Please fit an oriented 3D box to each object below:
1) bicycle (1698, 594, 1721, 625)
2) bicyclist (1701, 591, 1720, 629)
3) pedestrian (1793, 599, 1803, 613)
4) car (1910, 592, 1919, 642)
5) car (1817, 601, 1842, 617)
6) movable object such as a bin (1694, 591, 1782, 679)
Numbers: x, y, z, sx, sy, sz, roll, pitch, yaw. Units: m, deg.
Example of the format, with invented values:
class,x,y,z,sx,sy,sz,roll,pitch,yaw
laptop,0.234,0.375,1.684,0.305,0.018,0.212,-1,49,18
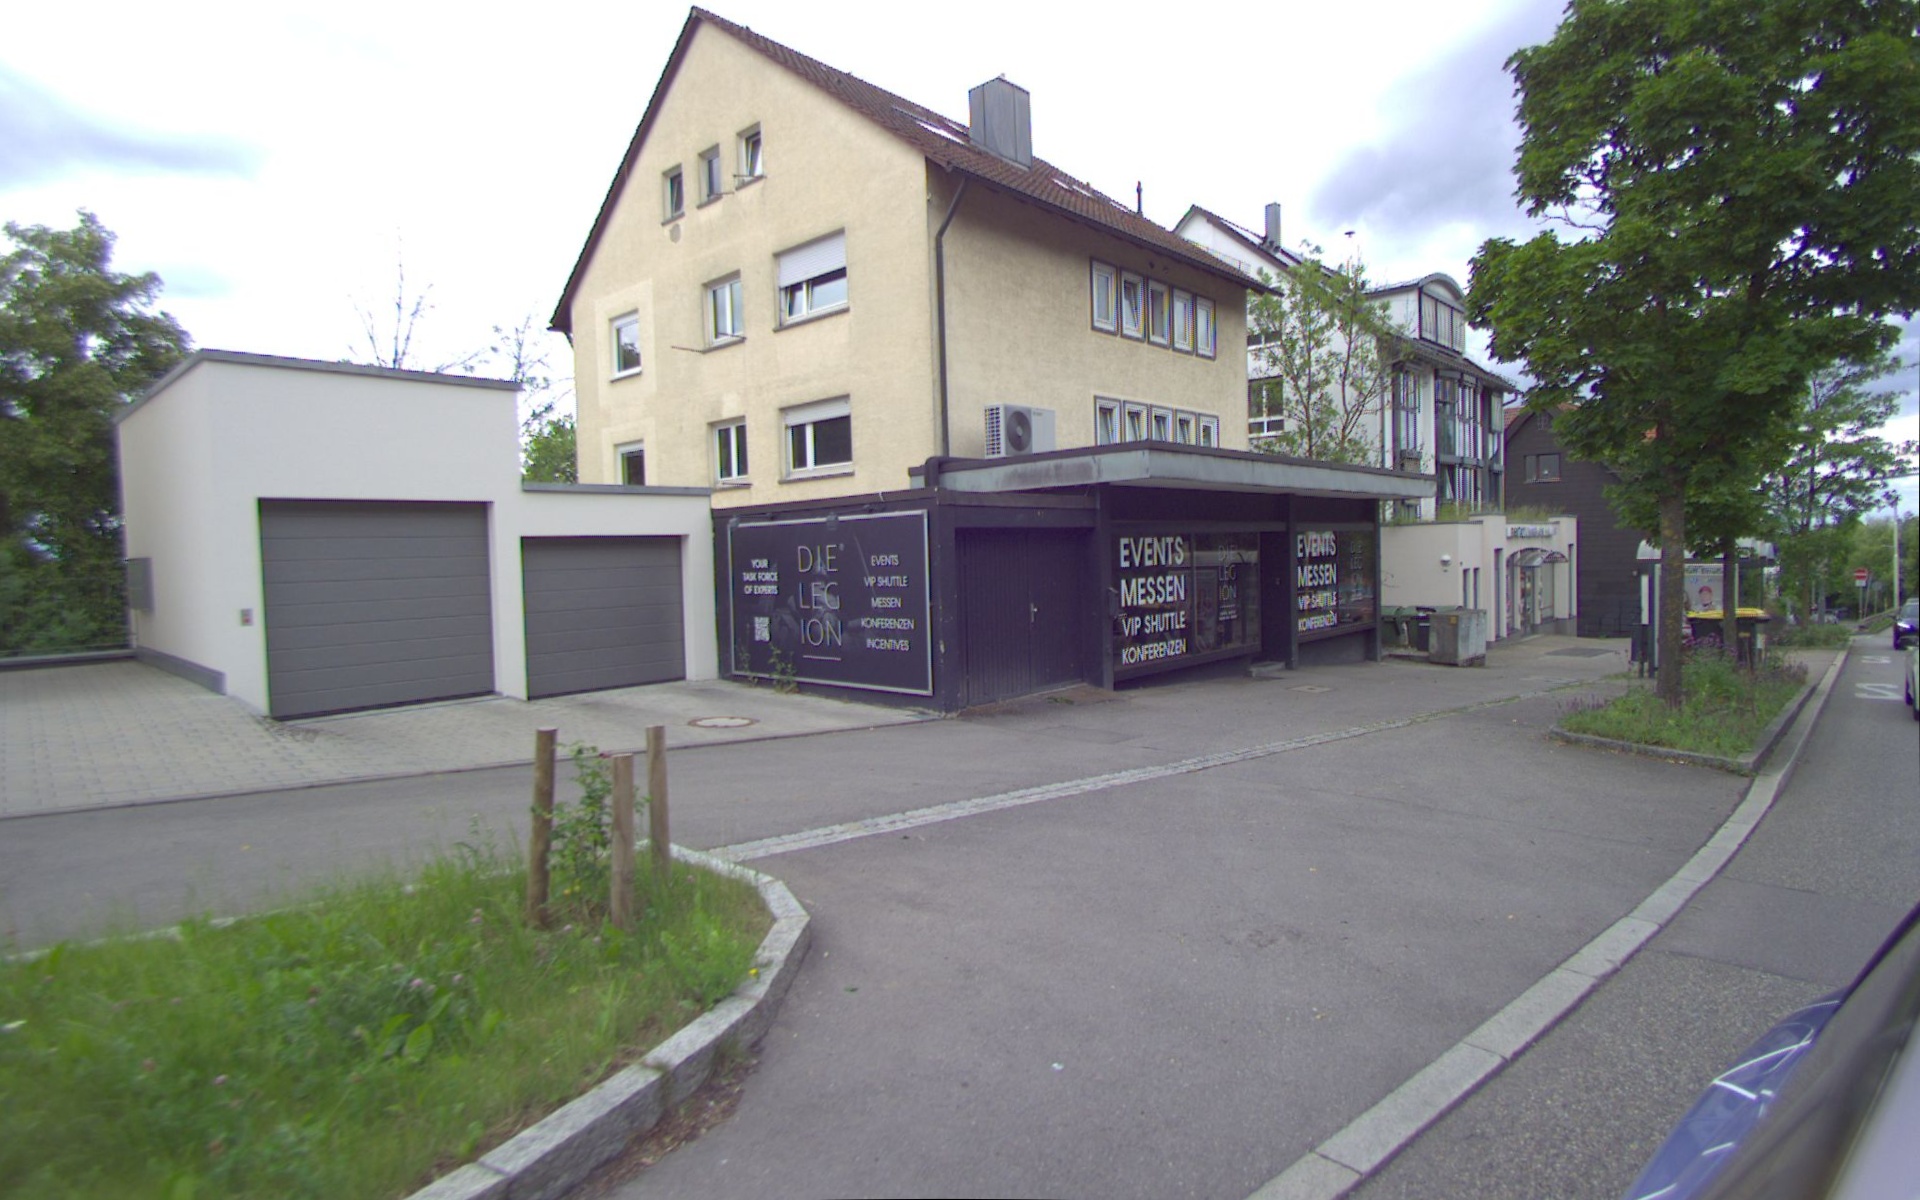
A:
class,x,y,z,sx,sy,sz,roll,pitch,yaw
bicycle,32.268,0.408,43.556,0.571,1.278,2.006,1,-1,43
bicyclist,32.350,0.427,43.628,0.538,1.654,0.932,-1,-1,44
pedestrian,87.100,0.647,105.211,0.711,1.490,0.684,-1,-2,43
car,31.974,0.554,32.740,1.772,1.561,3.937,-1,-1,43
car,93.662,0.968,108.953,1.917,1.672,3.938,-1,-1,42
movable object such as a bin,13.988,0.604,18.195,1.085,1.500,1.512,0,-1,44
